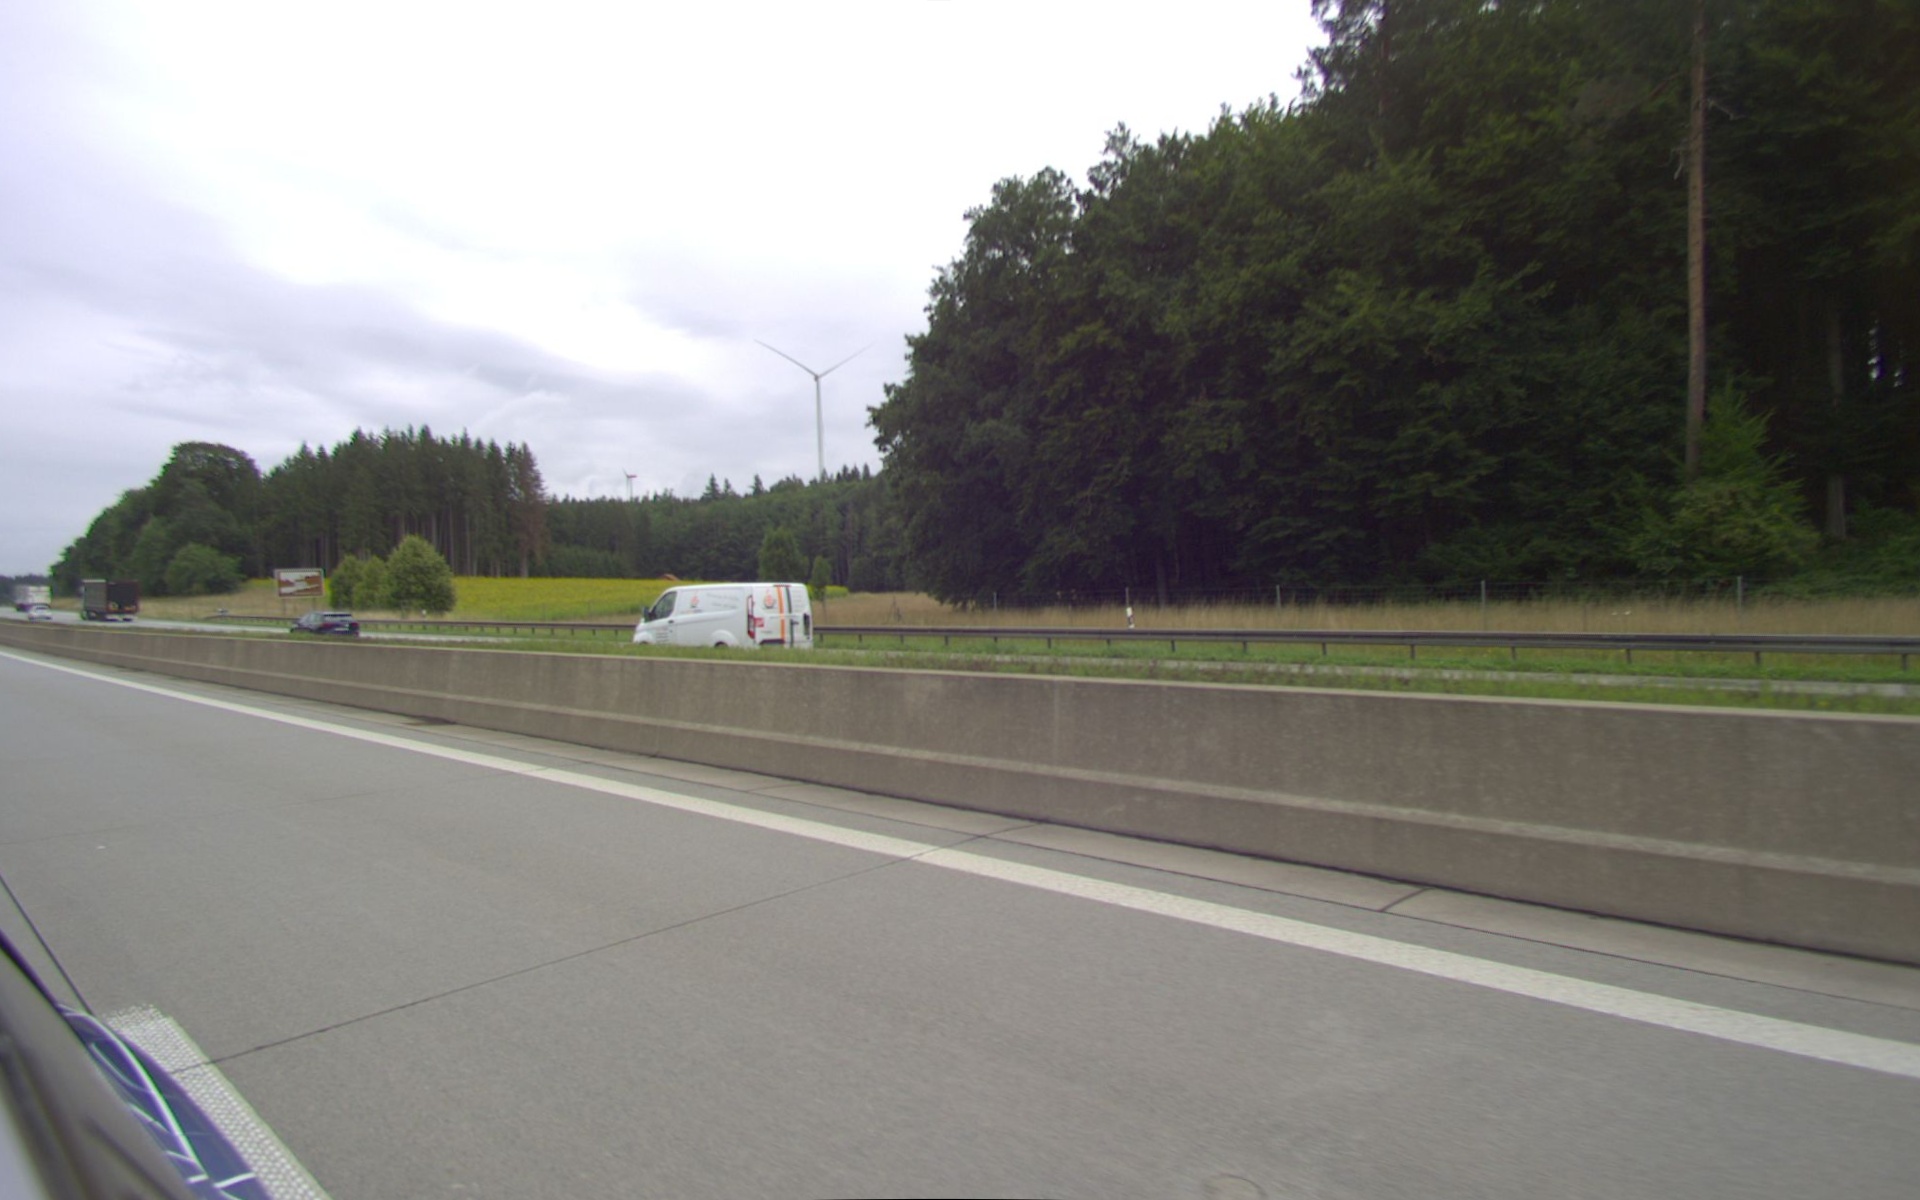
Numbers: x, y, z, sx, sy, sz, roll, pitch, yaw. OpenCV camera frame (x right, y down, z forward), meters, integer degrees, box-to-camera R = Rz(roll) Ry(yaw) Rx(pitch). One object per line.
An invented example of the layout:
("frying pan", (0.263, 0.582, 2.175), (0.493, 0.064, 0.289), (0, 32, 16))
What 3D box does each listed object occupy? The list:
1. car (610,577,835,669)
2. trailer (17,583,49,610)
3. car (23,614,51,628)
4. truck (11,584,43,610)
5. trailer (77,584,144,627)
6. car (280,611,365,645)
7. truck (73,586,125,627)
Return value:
("car", (-5.412, 0.476, 22.549), (5.494, 1.815, 2.066), (-1, 0, 41))
("trailer", (-136.288, -0.470, 148.809), (7.715, 3.811, 2.788), (-1, 0, 43))
("car", (-98.947, 2.270, 108.438), (4.369, 1.479, 1.765), (-2, -1, 41))
("truck", (-143.294, -0.435, 155.337), (11.351, 3.801, 2.782), (0, 1, 43))
("trailer", (-85.576, 0.593, 101.784), (14.126, 4.083, 3.201), (-1, 0, 42))
("car", (-27.899, 1.192, 44.274), (4.432, 1.387, 1.829), (-1, 0, 39))
("truck", (-90.063, 0.677, 105.828), (7.163, 4.088, 3.179), (-1, 0, 42))
